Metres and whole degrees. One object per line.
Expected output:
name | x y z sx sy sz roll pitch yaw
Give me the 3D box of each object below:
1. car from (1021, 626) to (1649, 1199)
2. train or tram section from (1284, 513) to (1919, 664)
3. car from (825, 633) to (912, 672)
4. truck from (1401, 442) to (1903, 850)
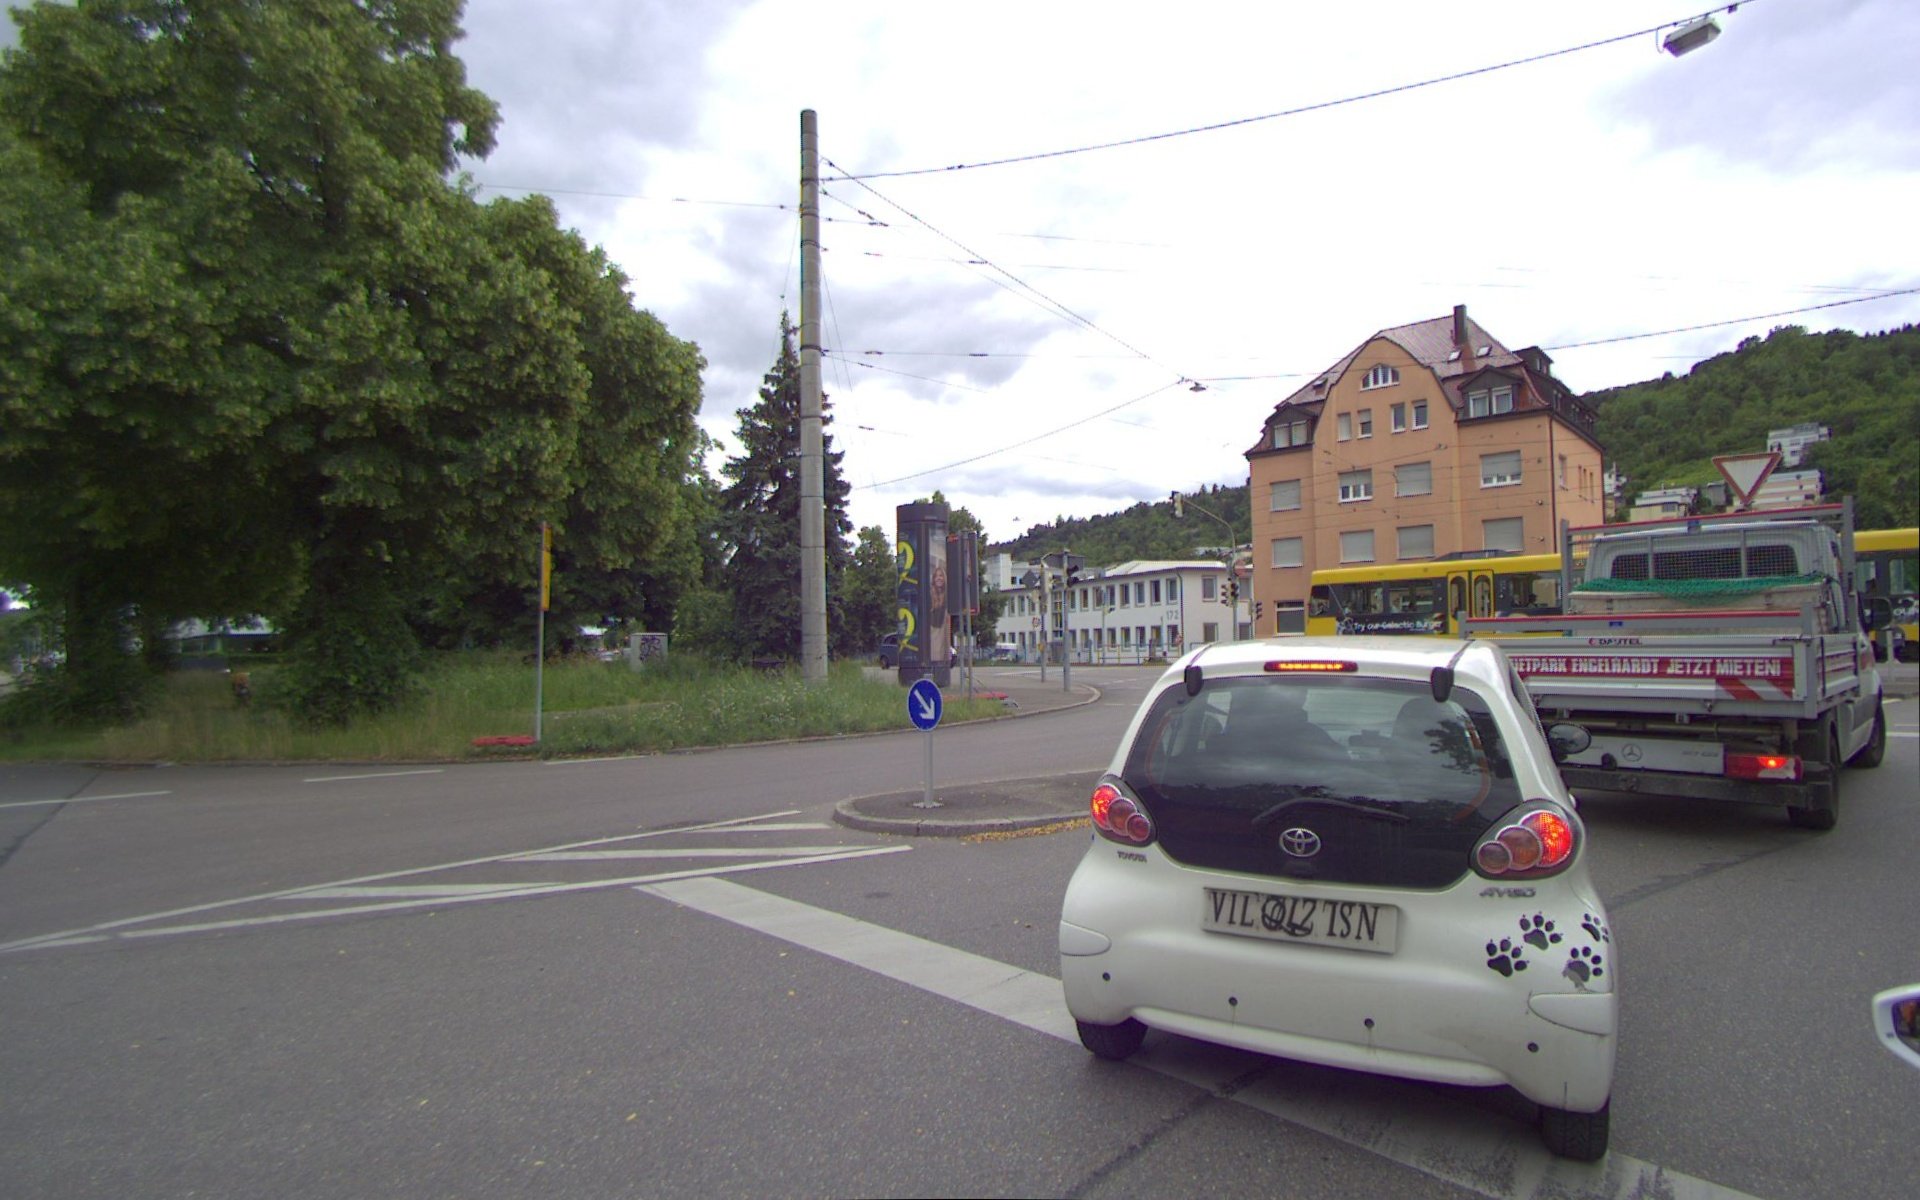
car | 1.736 0.877 4.316 1.615 1.451 3.426 -3 -3 28
train or tram section | 19.875 0.057 31.658 18.919 3.714 3.257 -4 -3 45
car | -4.018 2.293 43.753 1.791 1.605 3.839 1 -3 -44
truck | 6.434 0.365 8.929 5.986 2.429 2.399 1 -4 -43
